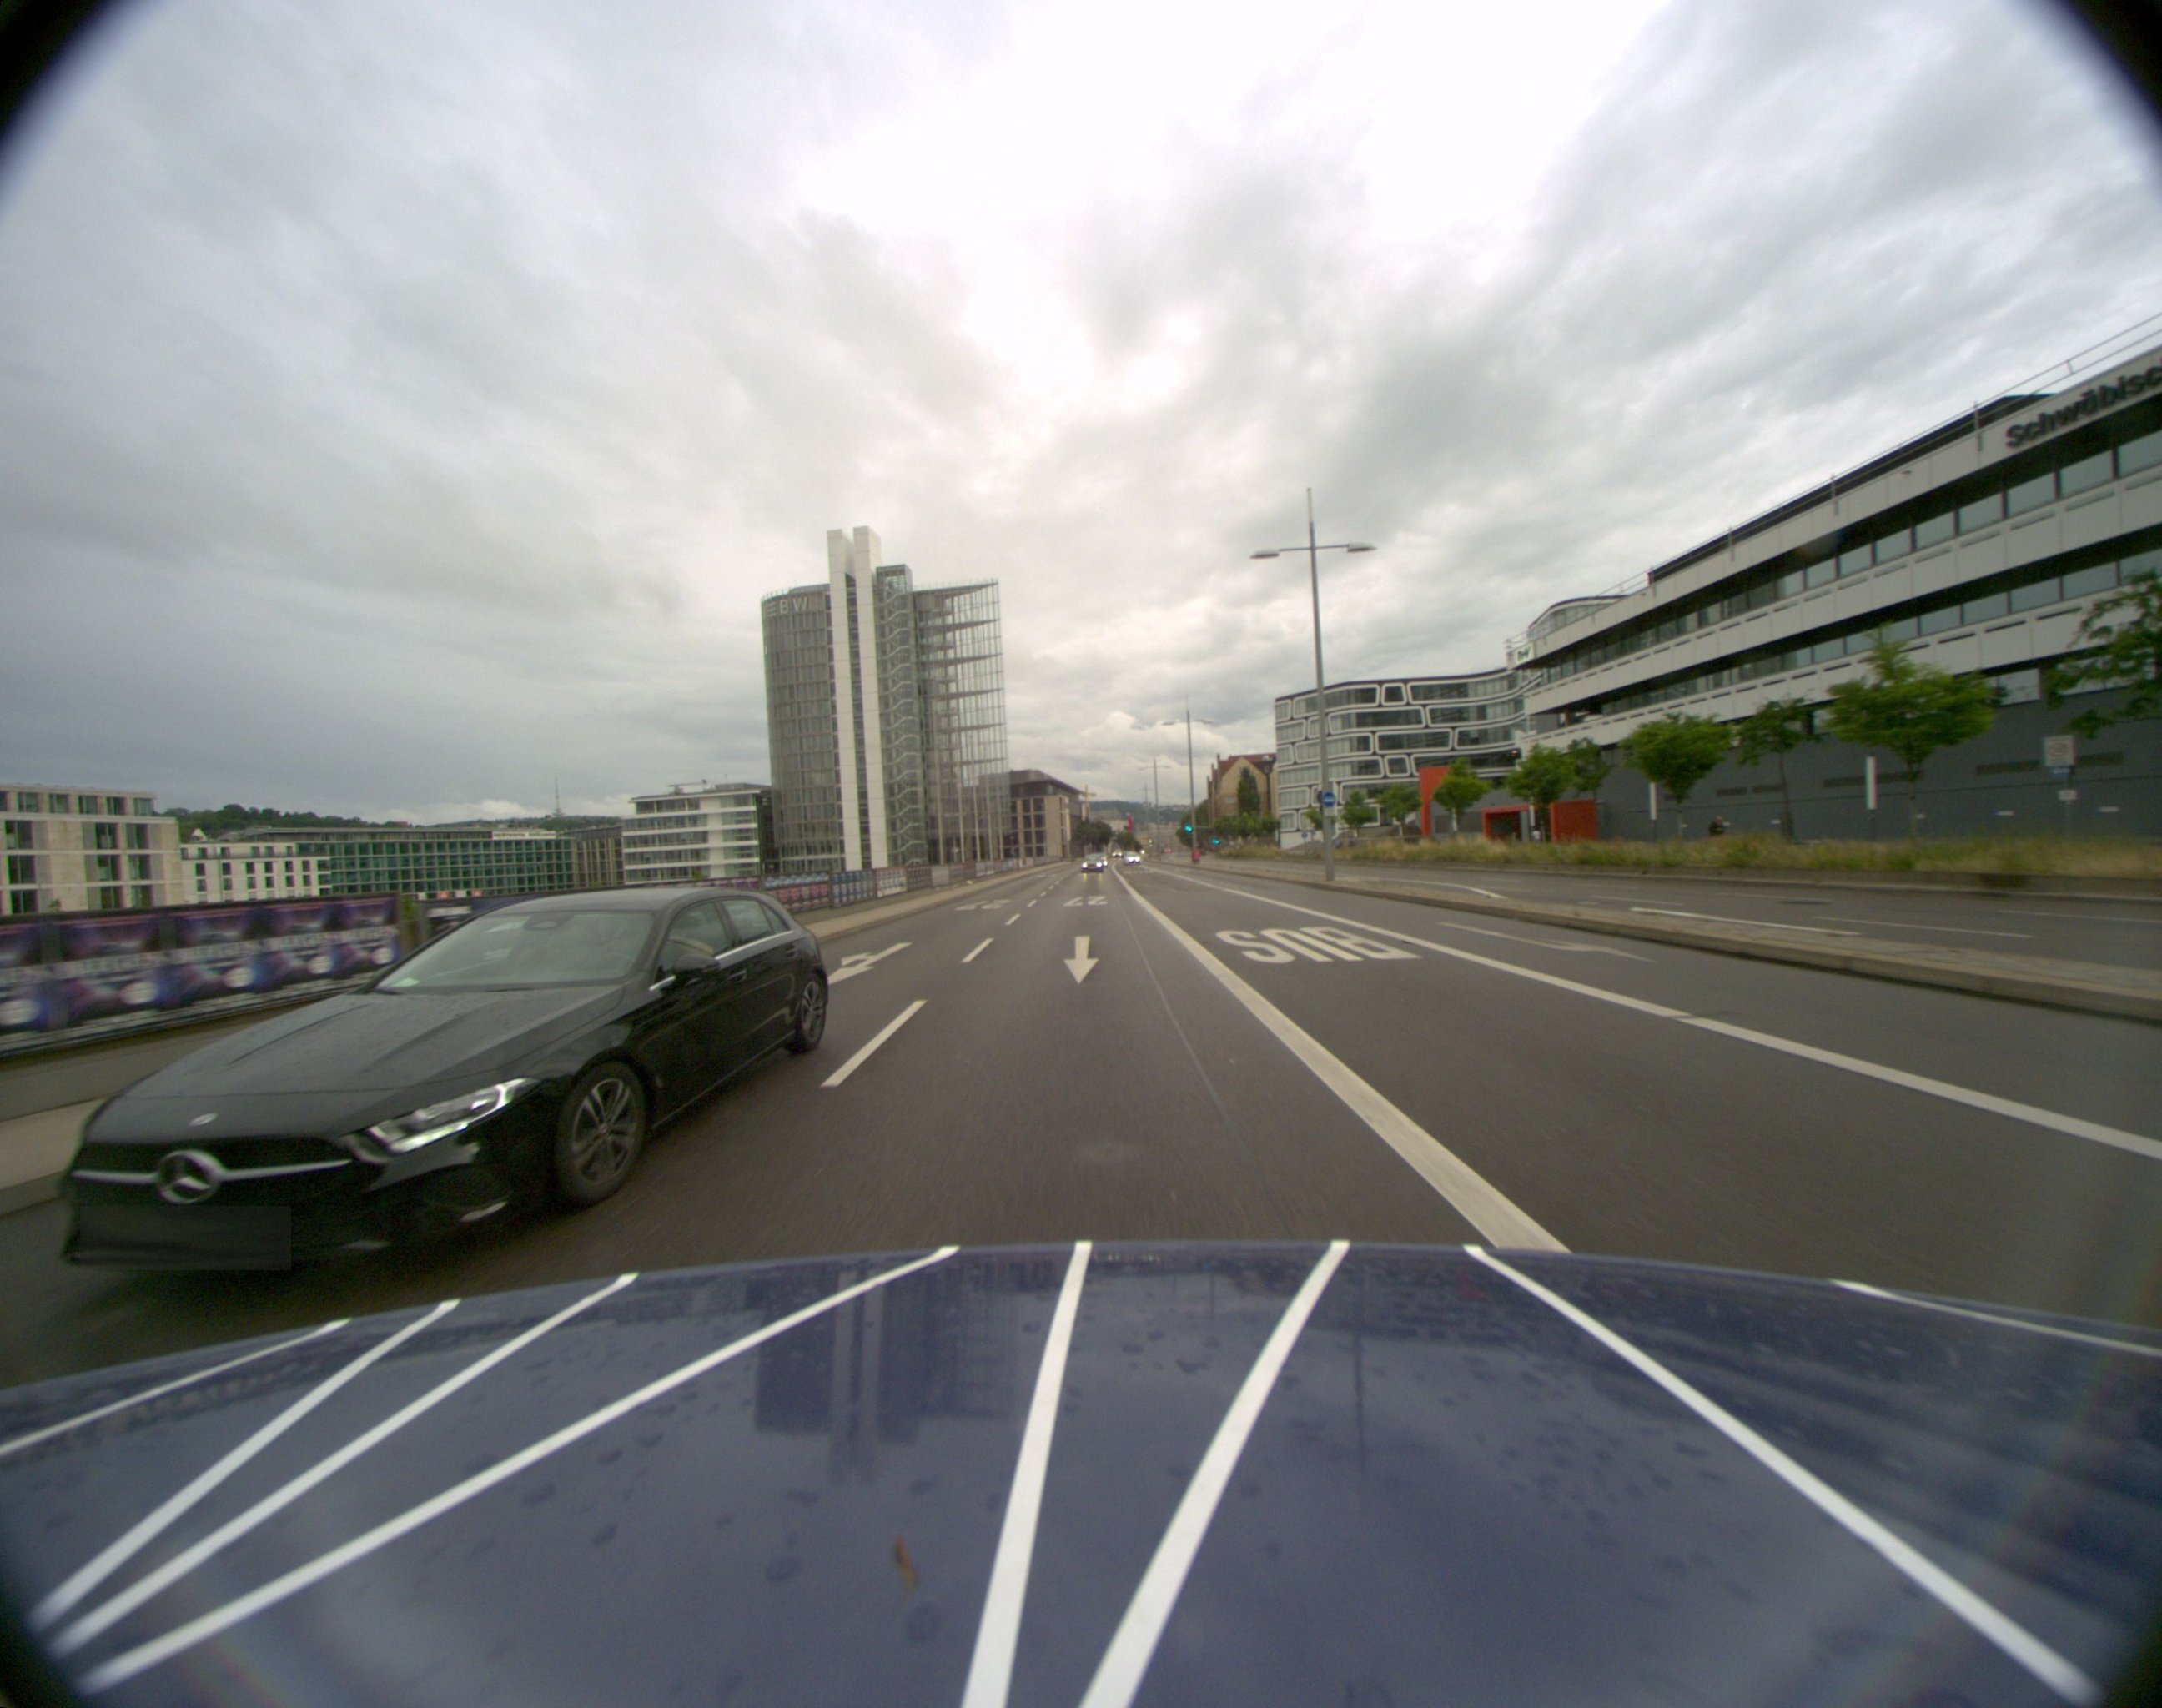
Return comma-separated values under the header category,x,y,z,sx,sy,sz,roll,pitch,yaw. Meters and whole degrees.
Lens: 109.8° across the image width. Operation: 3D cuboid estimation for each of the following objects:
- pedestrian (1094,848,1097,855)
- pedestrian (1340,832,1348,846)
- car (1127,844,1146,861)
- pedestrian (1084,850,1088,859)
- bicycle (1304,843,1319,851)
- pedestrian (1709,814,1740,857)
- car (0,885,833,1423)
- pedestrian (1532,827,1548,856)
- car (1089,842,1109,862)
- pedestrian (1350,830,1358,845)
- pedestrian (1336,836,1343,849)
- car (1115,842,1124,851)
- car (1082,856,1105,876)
category,x,y,z,sx,sy,sz,roll,pitch,yaw
pedestrian,3.079,-0.545,157.086,0.542,1.519,0.600,-2,2,-3
pedestrian,28.993,-1.642,83.831,0.619,1.438,0.798,-2,2,3
car,6.506,-0.190,88.933,1.969,1.816,3.928,-3,2,7
pedestrian,0.924,0.072,136.304,0.660,1.601,0.547,-3,1,8
bicycle,26.005,-0.767,85.728,0.610,0.852,1.653,-3,2,-32
pedestrian,27.596,-0.813,32.593,0.786,1.798,0.628,-2,2,2
car,-3.035,1.039,4.442,1.727,1.368,4.154,-2,2,0
pedestrian,29.460,-0.793,48.724,0.631,1.798,0.628,-2,2,2
car,1.854,-0.236,78.797,1.998,2.002,3.999,-2,2,1
pedestrian,30.131,-1.795,83.902,0.619,1.649,0.798,-1,2,3
pedestrian,32.675,-1.400,96.158,0.612,1.602,0.639,-4,2,5
car,9.505,-1.906,186.604,1.998,2.002,3.999,-2,2,1
car,0.988,0.908,59.704,1.684,1.379,3.475,-2,2,1
